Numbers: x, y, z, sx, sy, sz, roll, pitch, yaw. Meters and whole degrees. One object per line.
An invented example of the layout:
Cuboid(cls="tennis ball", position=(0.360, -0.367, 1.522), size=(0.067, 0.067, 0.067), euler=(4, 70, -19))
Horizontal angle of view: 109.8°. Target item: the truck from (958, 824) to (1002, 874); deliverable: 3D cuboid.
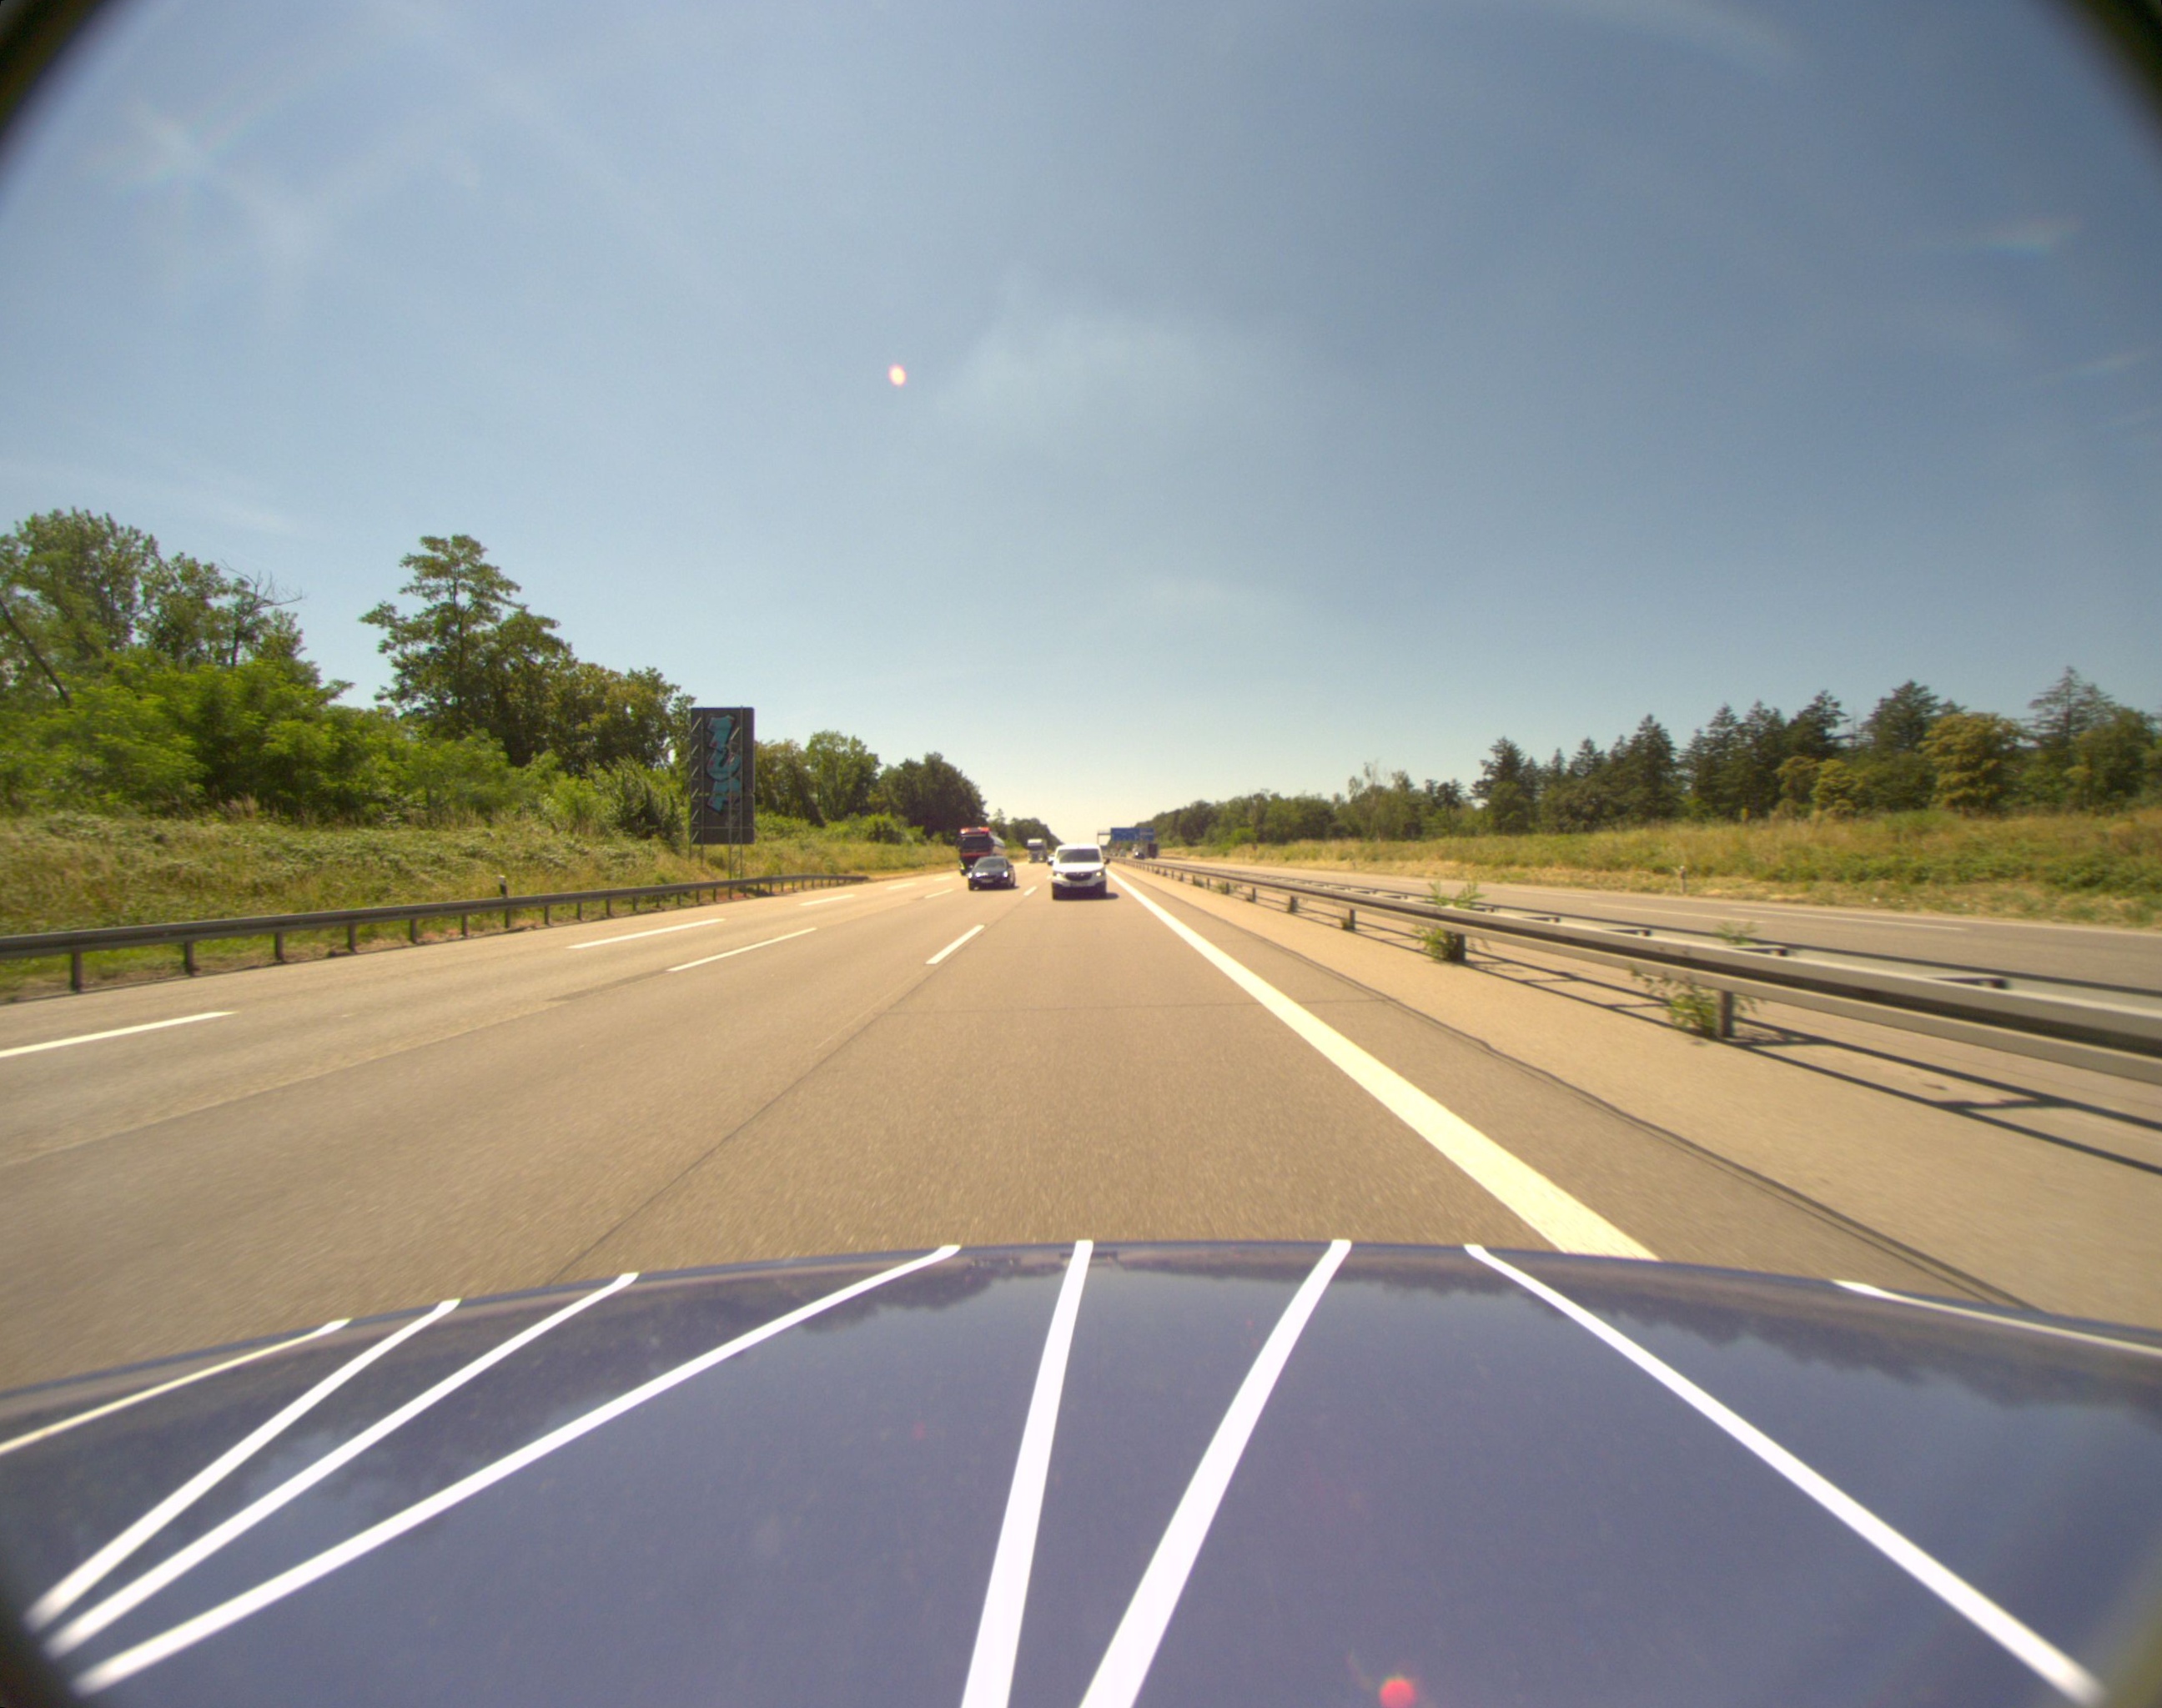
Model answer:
Cuboid(cls="truck", position=(-8.016, -0.384, 61.136), size=(2.535, 3.712, 6.098), euler=(-2, 1, 0))

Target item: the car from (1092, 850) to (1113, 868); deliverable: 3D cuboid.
Cuboid(cls="car", position=(1.772, 0.392, 62.859), size=(1.581, 1.412, 3.352), euler=(-2, 0, 0))

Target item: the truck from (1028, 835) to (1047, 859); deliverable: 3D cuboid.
Cuboid(cls="truck", position=(-7.462, -1.166, 130.794), size=(2.603, 3.980, 6.173), euler=(-2, 1, 0))

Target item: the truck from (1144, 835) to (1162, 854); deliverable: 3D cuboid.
Cuboid(cls="truck", position=(18.668, -2.431, 197.896), size=(3.385, 4.598, 12.185), euler=(2, 1, 1))

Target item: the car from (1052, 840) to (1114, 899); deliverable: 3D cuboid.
Cuboid(cls="car", position=(0.169, 0.468, 26.253), size=(1.870, 1.807, 4.941), euler=(-2, 0, 3))

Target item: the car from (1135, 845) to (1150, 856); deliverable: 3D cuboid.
Cuboid(cls="car", position=(11.241, -0.659, 138.881), size=(2.370, 1.884, 5.224), euler=(1, 0, 0))

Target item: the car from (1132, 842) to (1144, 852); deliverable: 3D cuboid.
Cuboid(cls="car", position=(14.105, -1.716, 188.580), size=(2.370, 2.434, 7.132), euler=(1, 0, 0))

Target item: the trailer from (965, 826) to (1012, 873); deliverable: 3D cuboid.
Cuboid(cls="trailer", position=(-7.951, -0.421, 66.925), size=(2.535, 3.712, 11.547), euler=(-2, 0, 0))

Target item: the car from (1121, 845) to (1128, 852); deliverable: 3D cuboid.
Cuboid(cls="car", position=(14.974, -1.903, 260.459), size=(1.998, 2.555, 6.389), euler=(1, 0, 1))

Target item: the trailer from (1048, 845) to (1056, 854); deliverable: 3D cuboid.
Cuboid(cls="trailer", position=(-7.187, -1.057, 189.257), size=(1.849, 2.196, 3.197), euler=(-2, 1, 0))

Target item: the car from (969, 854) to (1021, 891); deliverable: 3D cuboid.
Cuboid(cls="car", position=(-3.796, 0.772, 34.214), size=(1.806, 1.475, 4.271), euler=(-2, 0, 0))

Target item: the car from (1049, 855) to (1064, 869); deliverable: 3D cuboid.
Cuboid(cls="car", position=(-3.618, 1.156, 113.153), size=(1.998, 2.002, 4.000), euler=(-2, 0, 0))

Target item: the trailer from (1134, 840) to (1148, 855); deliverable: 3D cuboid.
Cuboid(cls="trailer", position=(18.337, -1.961, 233.324), size=(3.163, 4.174, 14.124), euler=(1, 0, 0))
